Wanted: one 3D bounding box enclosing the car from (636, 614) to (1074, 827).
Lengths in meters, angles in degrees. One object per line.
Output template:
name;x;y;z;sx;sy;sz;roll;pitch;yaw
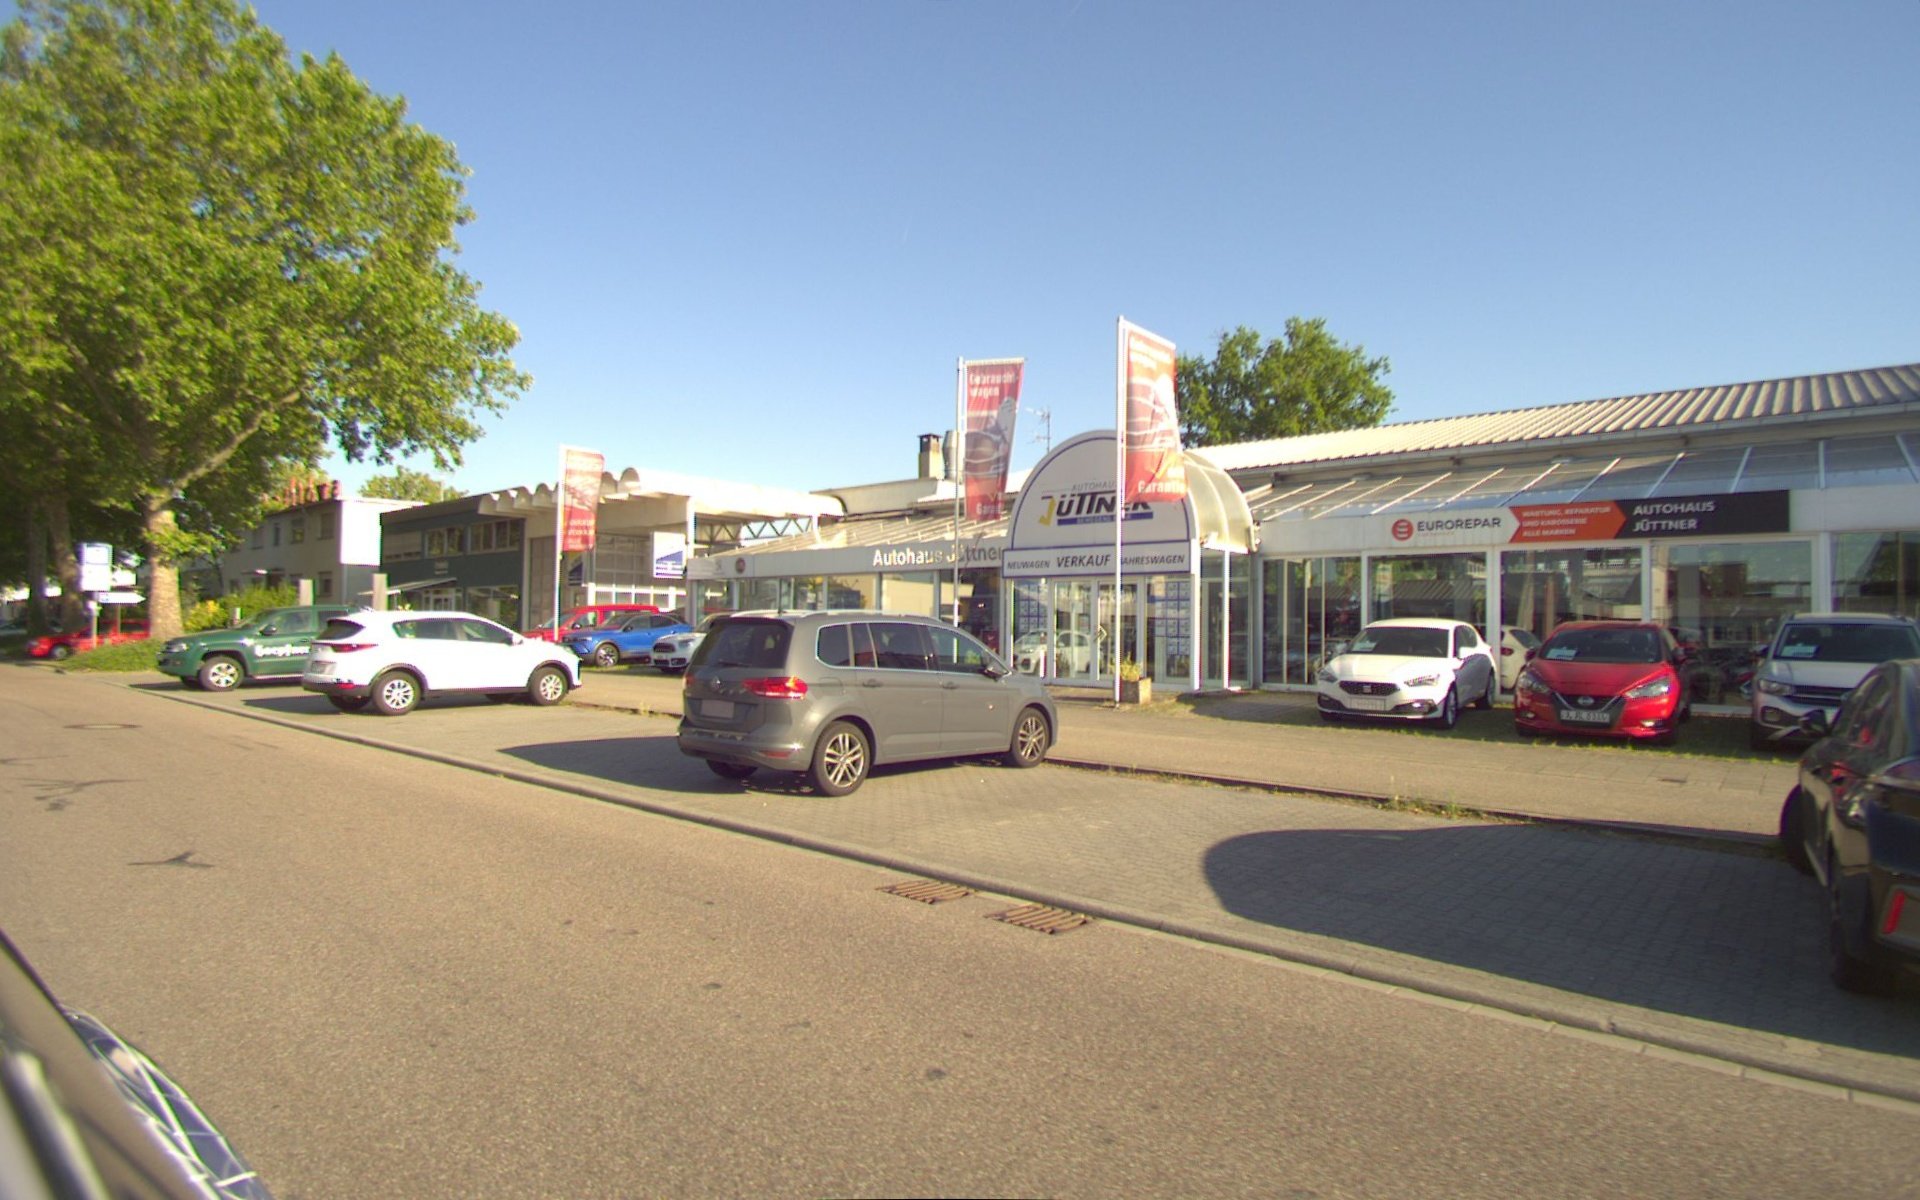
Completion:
car;-0.860;0.987;10.348;2.199;1.668;4.190;0;-1;38

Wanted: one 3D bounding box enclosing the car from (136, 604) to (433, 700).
car;-15.098;1.074;22.909;2.200;1.913;5.206;0;-1;40

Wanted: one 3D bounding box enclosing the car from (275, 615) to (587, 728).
car;-8.955;1.105;17.435;2.199;1.668;4.262;0;-1;38

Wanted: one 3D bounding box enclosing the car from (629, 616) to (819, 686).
car;-6.138;1.264;26.777;1.998;1.655;4.672;-1;-1;39

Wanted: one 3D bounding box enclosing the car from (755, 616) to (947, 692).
car;-2.402;1.166;23.354;1.834;1.565;4.419;-1;-1;39

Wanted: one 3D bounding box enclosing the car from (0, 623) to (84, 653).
car;-46.667;1.890;50.246;1.998;1.433;4.553;-2;-3;40

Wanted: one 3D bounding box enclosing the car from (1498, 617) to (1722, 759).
car;8.784;1.023;13.527;1.999;1.567;3.946;-1;-1;41

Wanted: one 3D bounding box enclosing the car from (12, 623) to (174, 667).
car;-31.636;1.596;37.030;1.999;1.457;4.252;0;-1;40

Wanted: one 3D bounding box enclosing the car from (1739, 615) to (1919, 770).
car;10.657;0.969;12.128;1.887;1.567;3.870;-1;-1;41

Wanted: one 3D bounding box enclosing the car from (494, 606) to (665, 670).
car;-11.828;1.129;31.733;1.998;1.833;4.699;-1;-1;39

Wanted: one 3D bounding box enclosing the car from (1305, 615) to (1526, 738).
car;6.911;1.011;15.154;1.999;1.567;3.946;-1;-1;41

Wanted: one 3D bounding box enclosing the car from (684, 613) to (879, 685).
car;-4.285;1.113;24.960;1.926;1.604;4.615;-1;-1;39

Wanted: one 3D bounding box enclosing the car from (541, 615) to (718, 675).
car;-9.692;1.261;30.002;1.998;1.646;4.667;-1;-1;39

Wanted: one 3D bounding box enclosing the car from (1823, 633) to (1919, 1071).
car;5.496;0.932;4.579;2.199;1.471;4.272;0;-1;38
